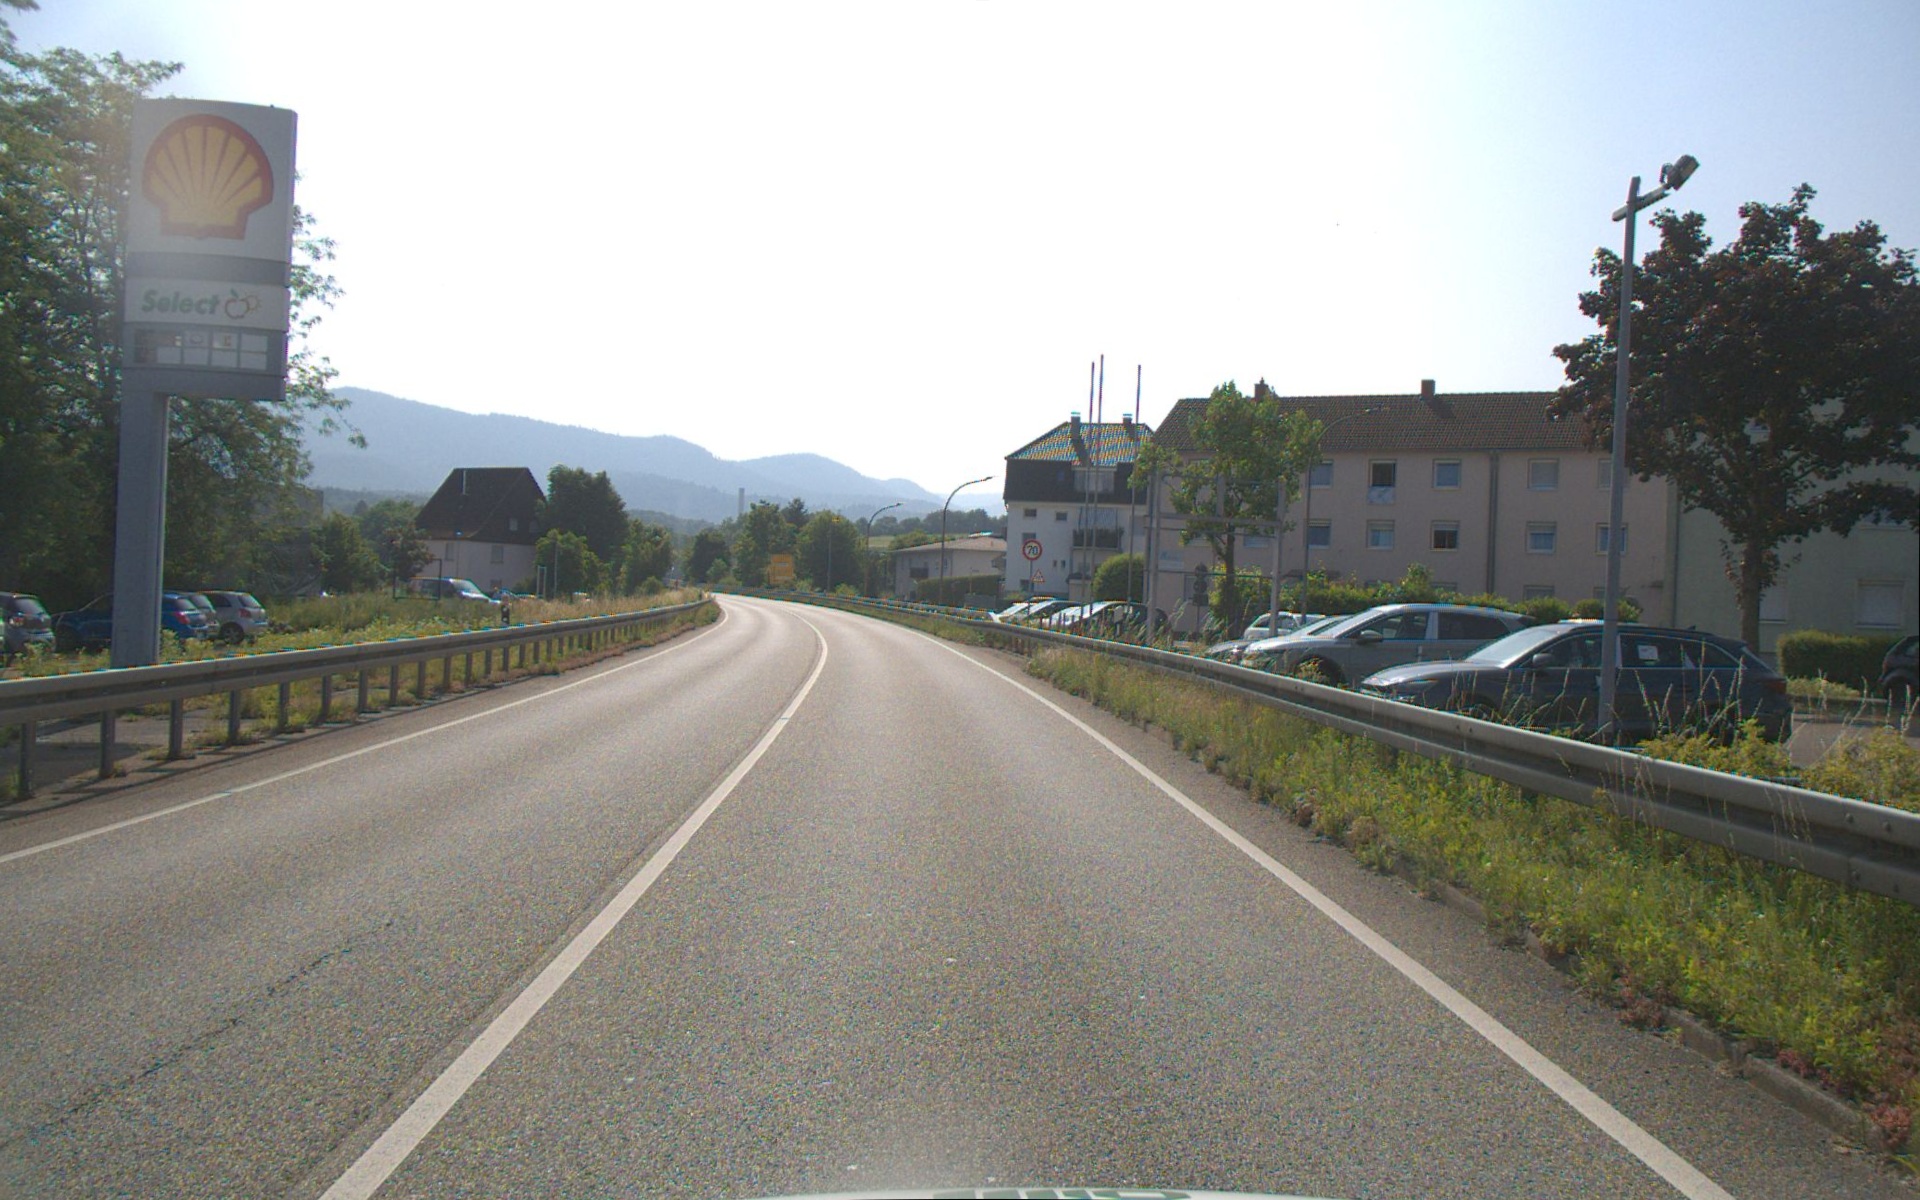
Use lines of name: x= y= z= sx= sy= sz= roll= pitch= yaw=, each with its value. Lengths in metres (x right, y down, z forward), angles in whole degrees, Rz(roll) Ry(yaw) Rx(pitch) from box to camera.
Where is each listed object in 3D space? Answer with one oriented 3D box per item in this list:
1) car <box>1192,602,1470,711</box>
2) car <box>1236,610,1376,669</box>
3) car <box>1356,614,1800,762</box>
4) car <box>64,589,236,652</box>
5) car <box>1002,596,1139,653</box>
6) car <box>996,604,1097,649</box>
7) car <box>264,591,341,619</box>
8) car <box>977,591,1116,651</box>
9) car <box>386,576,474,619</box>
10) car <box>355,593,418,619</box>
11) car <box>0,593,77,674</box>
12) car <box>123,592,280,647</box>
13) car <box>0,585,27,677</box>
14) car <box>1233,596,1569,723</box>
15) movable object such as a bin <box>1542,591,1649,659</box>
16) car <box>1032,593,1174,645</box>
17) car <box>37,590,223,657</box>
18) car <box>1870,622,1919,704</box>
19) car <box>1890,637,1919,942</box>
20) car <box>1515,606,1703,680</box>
car: x=5.927 y=0.886 z=26.781 sx=4.064 sy=1.508 sz=1.882 roll=3 pitch=0 yaw=1
car: x=9.520 y=1.065 z=45.911 sx=1.757 sy=1.444 sz=4.413 roll=1 pitch=1 yaw=-20
car: x=6.641 y=0.929 z=18.013 sx=4.234 sy=1.469 sz=1.627 roll=1 pitch=0 yaw=-3
car: x=-21.791 y=0.535 z=44.591 sx=3.670 sy=1.526 sz=1.858 roll=2 pitch=0 yaw=2
car: x=3.515 y=0.772 z=52.711 sx=3.922 sy=1.474 sz=1.758 roll=5 pitch=-1 yaw=-15
car: x=3.077 y=0.942 z=59.019 sx=3.212 sy=1.400 sz=1.542 roll=4 pitch=-2 yaw=-17
car: x=-45.342 y=0.367 z=114.047 sx=4.466 sy=1.662 sz=1.861 roll=2 pitch=-2 yaw=-1
car: x=2.869 y=0.693 z=55.109 sx=4.168 sy=1.599 sz=1.909 roll=5 pitch=-2 yaw=-18
car: x=-26.668 y=-0.123 z=83.159 sx=4.814 sy=2.049 sz=1.990 roll=1 pitch=0 yaw=40
car: x=-44.255 y=0.477 z=127.620 sx=4.072 sy=1.662 sz=1.862 roll=5 pitch=-2 yaw=2
car: x=-19.967 y=0.606 z=32.953 sx=3.676 sy=1.526 sz=1.929 roll=2 pitch=0 yaw=-7
car: x=-21.844 y=0.566 z=47.739 sx=3.674 sy=1.485 sz=1.859 roll=1 pitch=0 yaw=-5
car: x=-19.765 y=0.502 z=30.208 sx=4.268 sy=1.684 sz=1.929 roll=2 pitch=0 yaw=-7
car: x=6.215 y=0.815 z=23.713 sx=4.231 sy=1.668 sz=2.140 roll=1 pitch=0 yaw=-1
movable object such as a bin: x=24.285 y=0.936 z=63.260 sx=3.465 sy=2.399 sz=1.578 roll=1 pitch=-3 yaw=38
car: x=4.357 y=0.581 z=50.450 sx=3.999 sy=1.477 sz=1.718 roll=1 pitch=0 yaw=-21
car: x=-20.850 y=0.581 z=41.677 sx=3.674 sy=1.526 sz=1.930 roll=2 pitch=0 yaw=-5
car: x=17.512 y=1.098 z=27.823 sx=1.630 sy=1.390 sz=3.634 roll=1 pitch=0 yaw=-25
car: x=6.854 y=1.000 z=7.879 sx=3.905 sy=1.548 sz=1.697 roll=1 pitch=0 yaw=-1
car: x=13.989 y=0.894 z=35.829 sx=1.682 sy=1.429 sz=3.634 roll=1 pitch=1 yaw=-25
